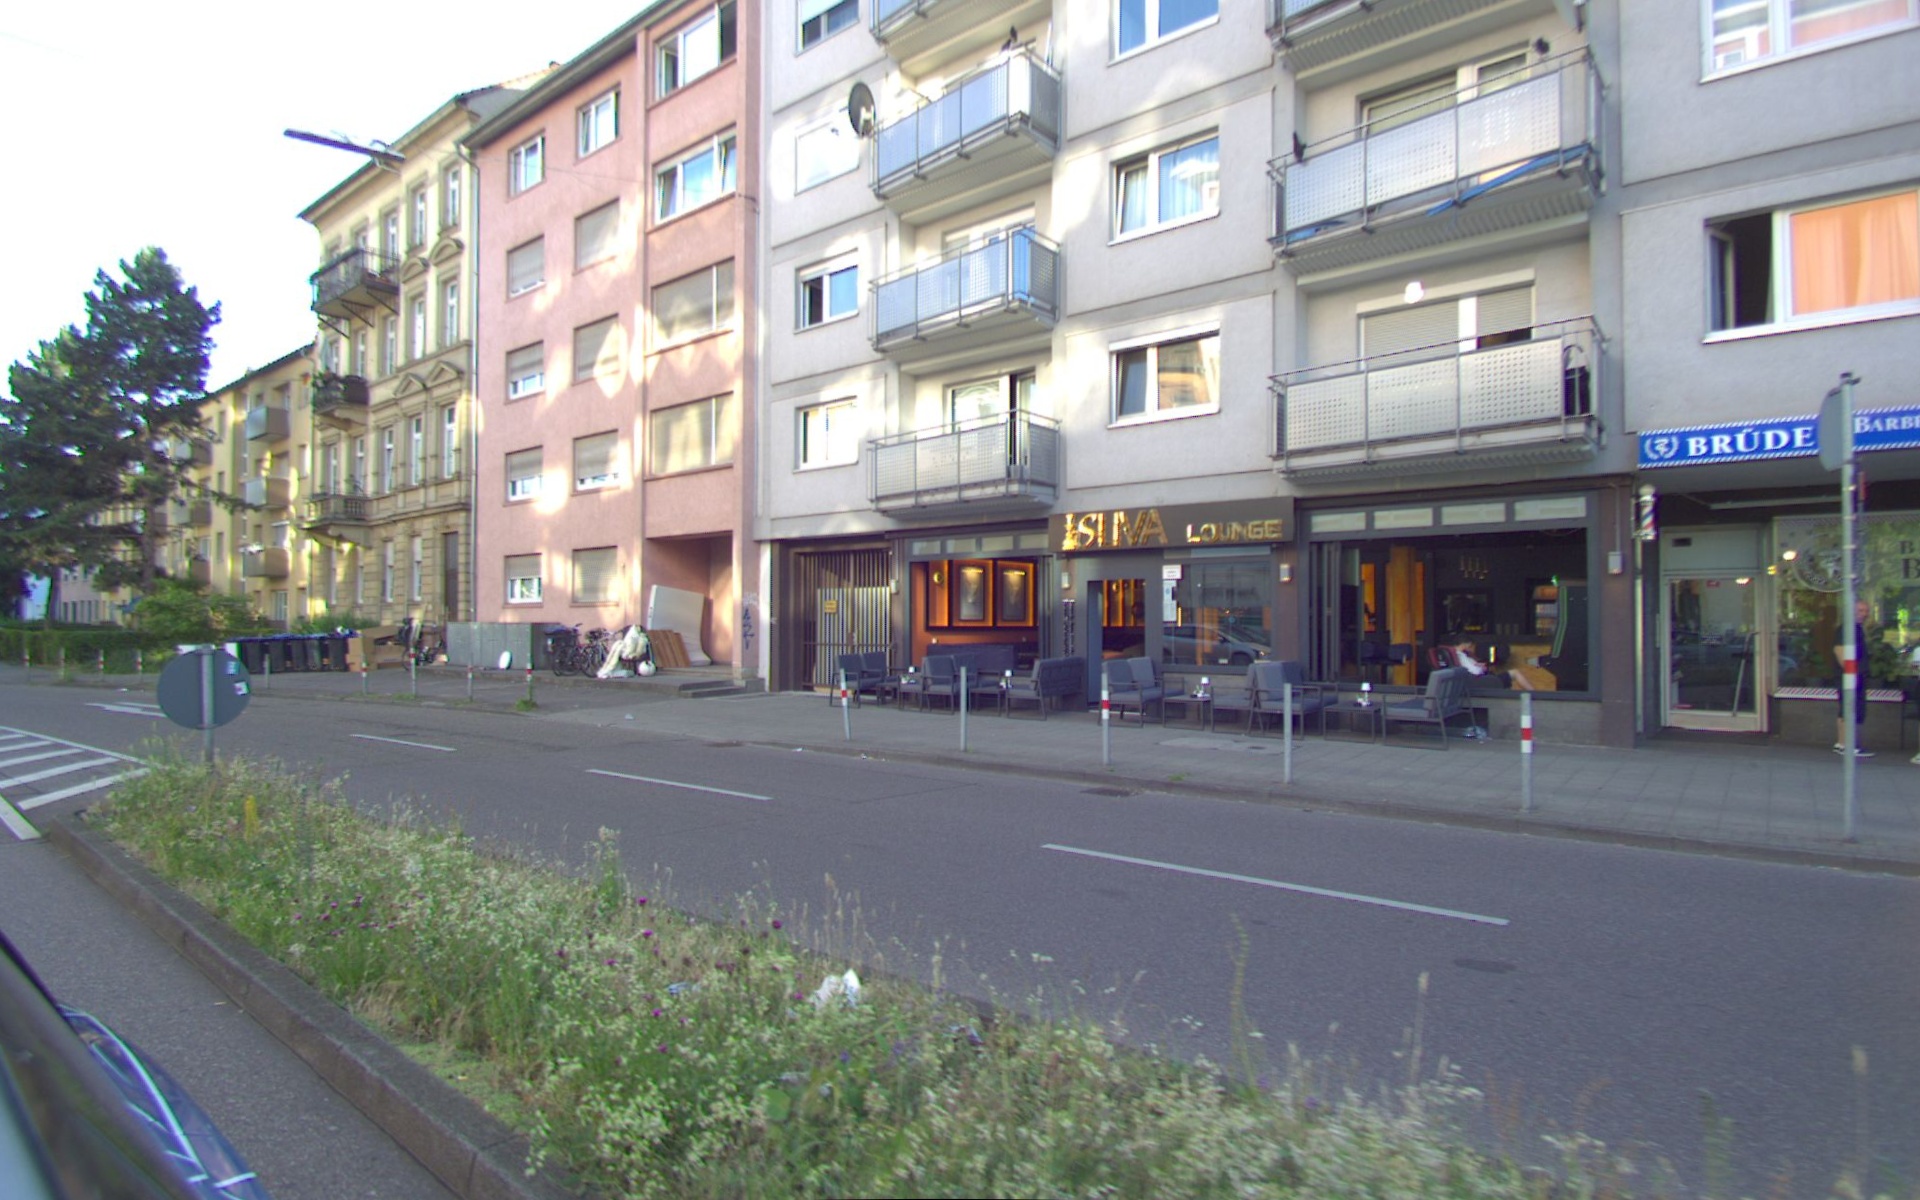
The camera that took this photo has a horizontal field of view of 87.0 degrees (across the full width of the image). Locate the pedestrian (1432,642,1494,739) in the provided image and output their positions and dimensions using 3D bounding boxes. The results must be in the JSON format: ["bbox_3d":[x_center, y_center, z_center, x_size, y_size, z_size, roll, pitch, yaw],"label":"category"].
[{"bbox_3d":[6.424,1.143,12.946,0.546,1.212,0.521,0,-2,8],"label":"pedestrian"}]

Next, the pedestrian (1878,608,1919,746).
[{"bbox_3d":[11.310,0.887,11.836,0.787,1.590,0.555,-2,-3,41],"label":"pedestrian"}]

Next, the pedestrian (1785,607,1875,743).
[{"bbox_3d":[10.621,0.898,12.374,0.787,1.590,0.555,-2,-3,41],"label":"pedestrian"}]

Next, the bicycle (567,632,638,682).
[{"bbox_3d":[-8.160,1.285,23.159,0.546,1.048,1.661,-1,0,25],"label":"bicycle"}]

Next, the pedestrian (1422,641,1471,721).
[{"bbox_3d":[6.768,1.115,14.088,0.518,1.088,0.549,-1,-2,17],"label":"pedestrian"}]

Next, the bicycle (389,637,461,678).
[{"bbox_3d":[-15.317,1.624,28.992,0.661,0.974,1.633,-2,3,38],"label":"bicycle"}]

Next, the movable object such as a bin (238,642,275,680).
[{"bbox_3d":[-20.855,1.802,30.000,0.620,1.076,0.640,-1,0,9],"label":"movable object such as a bin"}]

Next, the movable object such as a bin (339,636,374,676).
[{"bbox_3d":[-17.628,1.639,29.566,0.577,1.119,0.640,-1,0,9],"label":"movable object such as a bin"}]

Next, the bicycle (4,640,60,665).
[{"bbox_3d":[-39.749,2.227,43.356,0.589,0.989,1.740,-2,-1,40],"label":"bicycle"}]

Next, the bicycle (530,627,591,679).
[{"bbox_3d":[-9.496,1.241,24.107,0.491,1.169,1.668,-1,0,14],"label":"bicycle"}]

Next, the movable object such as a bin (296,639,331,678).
[{"bbox_3d":[-18.887,1.702,29.590,0.577,1.119,0.640,-1,0,9],"label":"movable object such as a bin"}]

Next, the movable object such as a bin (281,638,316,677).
[{"bbox_3d":[-19.503,1.686,29.838,0.577,1.119,0.640,-1,0,9],"label":"movable object such as a bin"}]

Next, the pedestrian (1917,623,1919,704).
[{"bbox_3d":[9.857,0.926,9.961,0.476,1.394,0.482,1,-2,-30],"label":"pedestrian"}]

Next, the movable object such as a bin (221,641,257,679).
[{"bbox_3d":[-21.496,1.788,30.167,0.577,1.091,0.640,-1,0,9],"label":"movable object such as a bin"}]

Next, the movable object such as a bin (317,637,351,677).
[{"bbox_3d":[-18.286,1.659,29.573,0.577,1.119,0.640,-1,0,9],"label":"movable object such as a bin"}]

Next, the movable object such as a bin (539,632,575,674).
[{"bbox_3d":[-10.260,1.332,25.768,0.588,1.039,0.668,-2,-2,39],"label":"movable object such as a bin"}]

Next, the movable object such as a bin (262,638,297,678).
[{"bbox_3d":[-20.136,1.706,29.952,0.577,1.119,0.640,-1,0,9],"label":"movable object such as a bin"}]

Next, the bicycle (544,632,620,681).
[{"bbox_3d":[-8.818,1.298,23.662,0.548,1.048,1.656,-1,-1,33],"label":"bicycle"}]

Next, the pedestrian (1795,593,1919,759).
[{"bbox_3d":[9.631,0.795,10.894,0.552,1.714,0.781,0,-2,-7],"label":"pedestrian"}]
